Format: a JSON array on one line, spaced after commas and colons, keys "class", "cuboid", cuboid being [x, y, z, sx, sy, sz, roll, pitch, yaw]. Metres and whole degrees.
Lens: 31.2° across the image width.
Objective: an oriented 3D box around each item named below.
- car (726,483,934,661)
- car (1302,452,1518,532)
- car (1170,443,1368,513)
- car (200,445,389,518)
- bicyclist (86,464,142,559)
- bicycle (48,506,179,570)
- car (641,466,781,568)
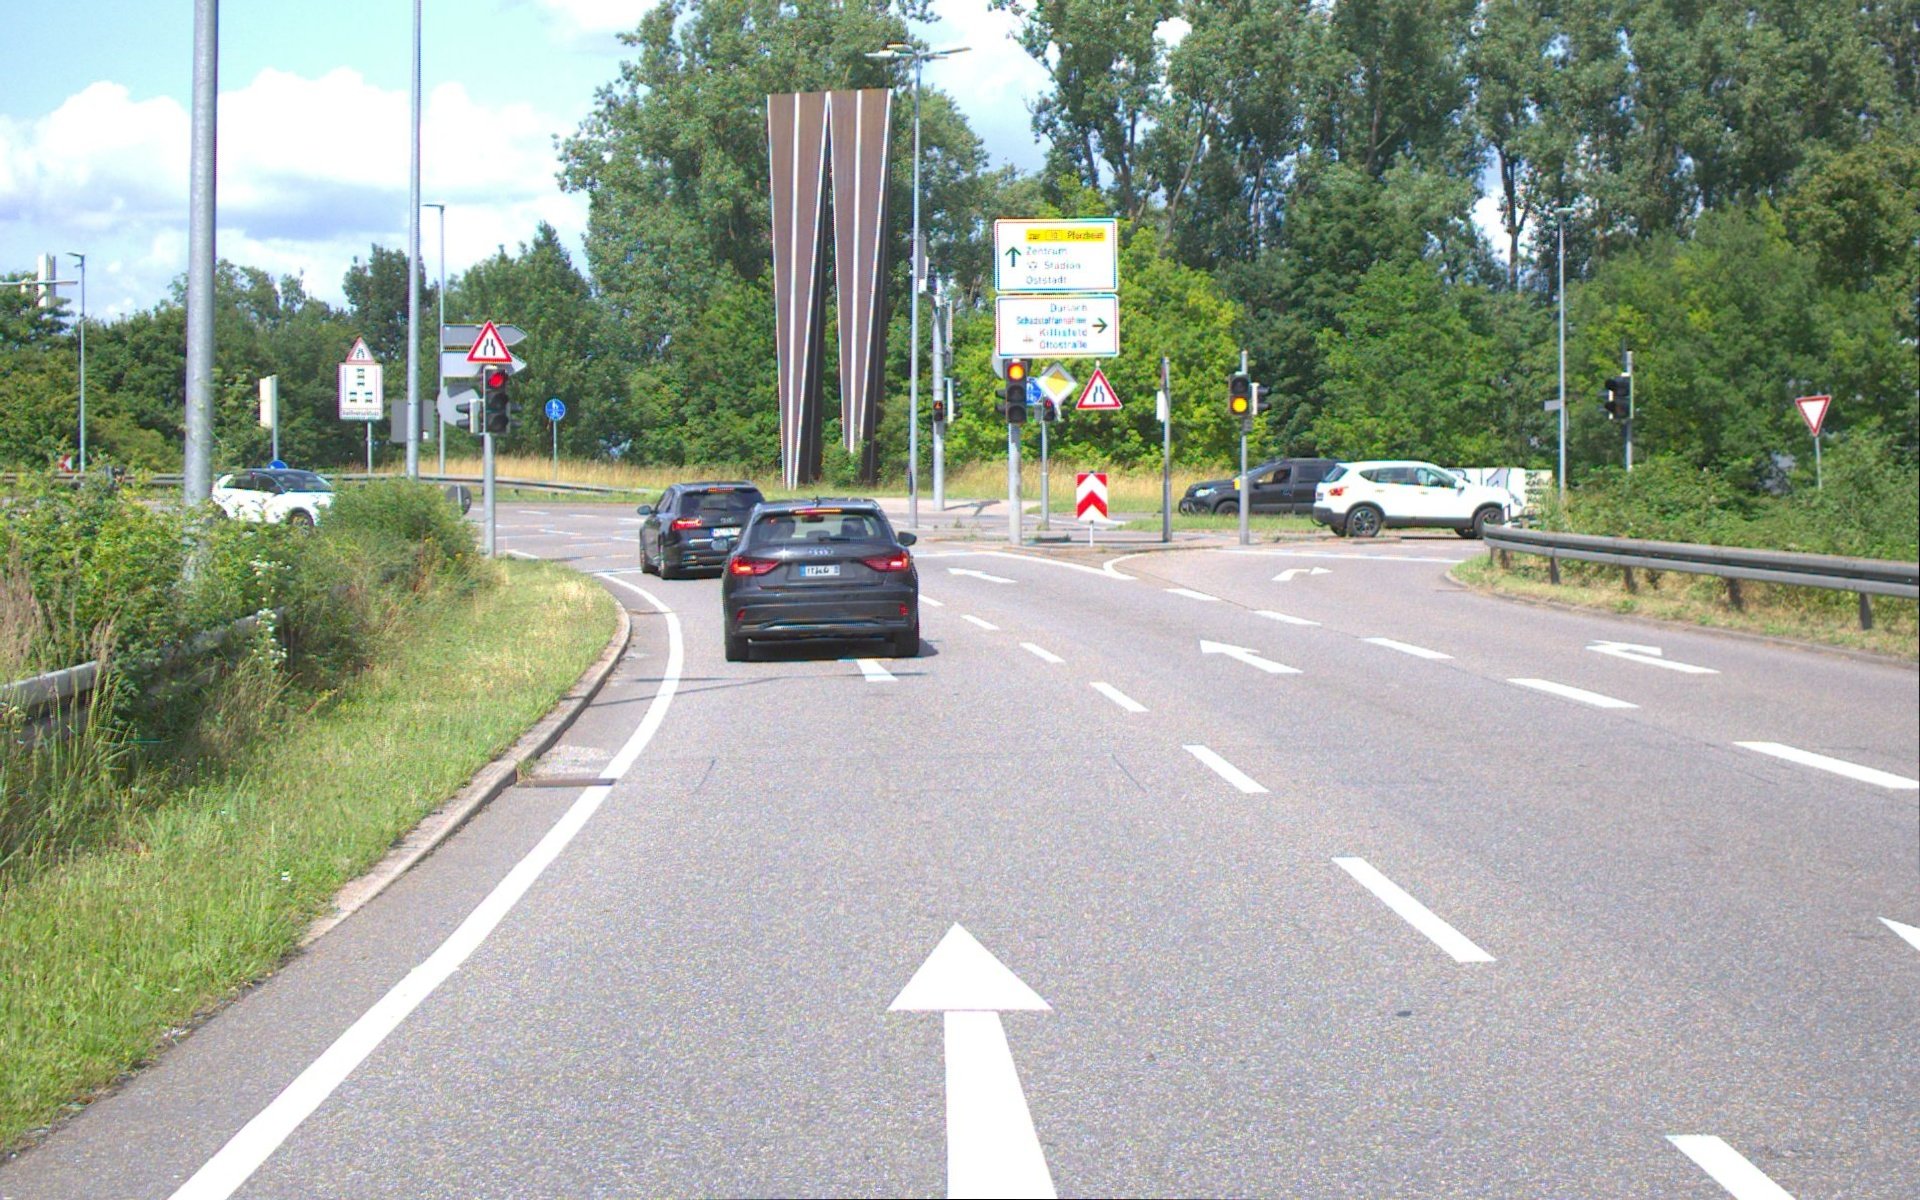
[{"class": "car", "cuboid": [-1.242, -0.311, 31.489, 1.726, 1.399, 4.001, -2, 3, -4]}, {"class": "car", "cuboid": [9.182, -2.189, 70.401, 4.024, 1.504, 1.957, 1, 1, -5]}, {"class": "car", "cuboid": [7.100, -2.817, 79.107, 4.267, 1.539, 1.737, -1, 2, -7]}, {"class": "car", "cuboid": [-14.293, -2.543, 73.744, 4.043, 1.471, 1.733, 3, 3, 38]}, {"class": "bicyclist", "cuboid": [-13.998, -1.473, 56.903, 0.834, 1.554, 0.672, -1, 2, -10]}, {"class": "bicycle", "cuboid": [-13.998, -1.035, 56.919, 2.052, 1.020, 0.672, -1, 2, -10]}, {"class": "car", "cuboid": [-3.891, -1.318, 53.240, 1.726, 1.418, 3.846, -3, 3, -10]}]
